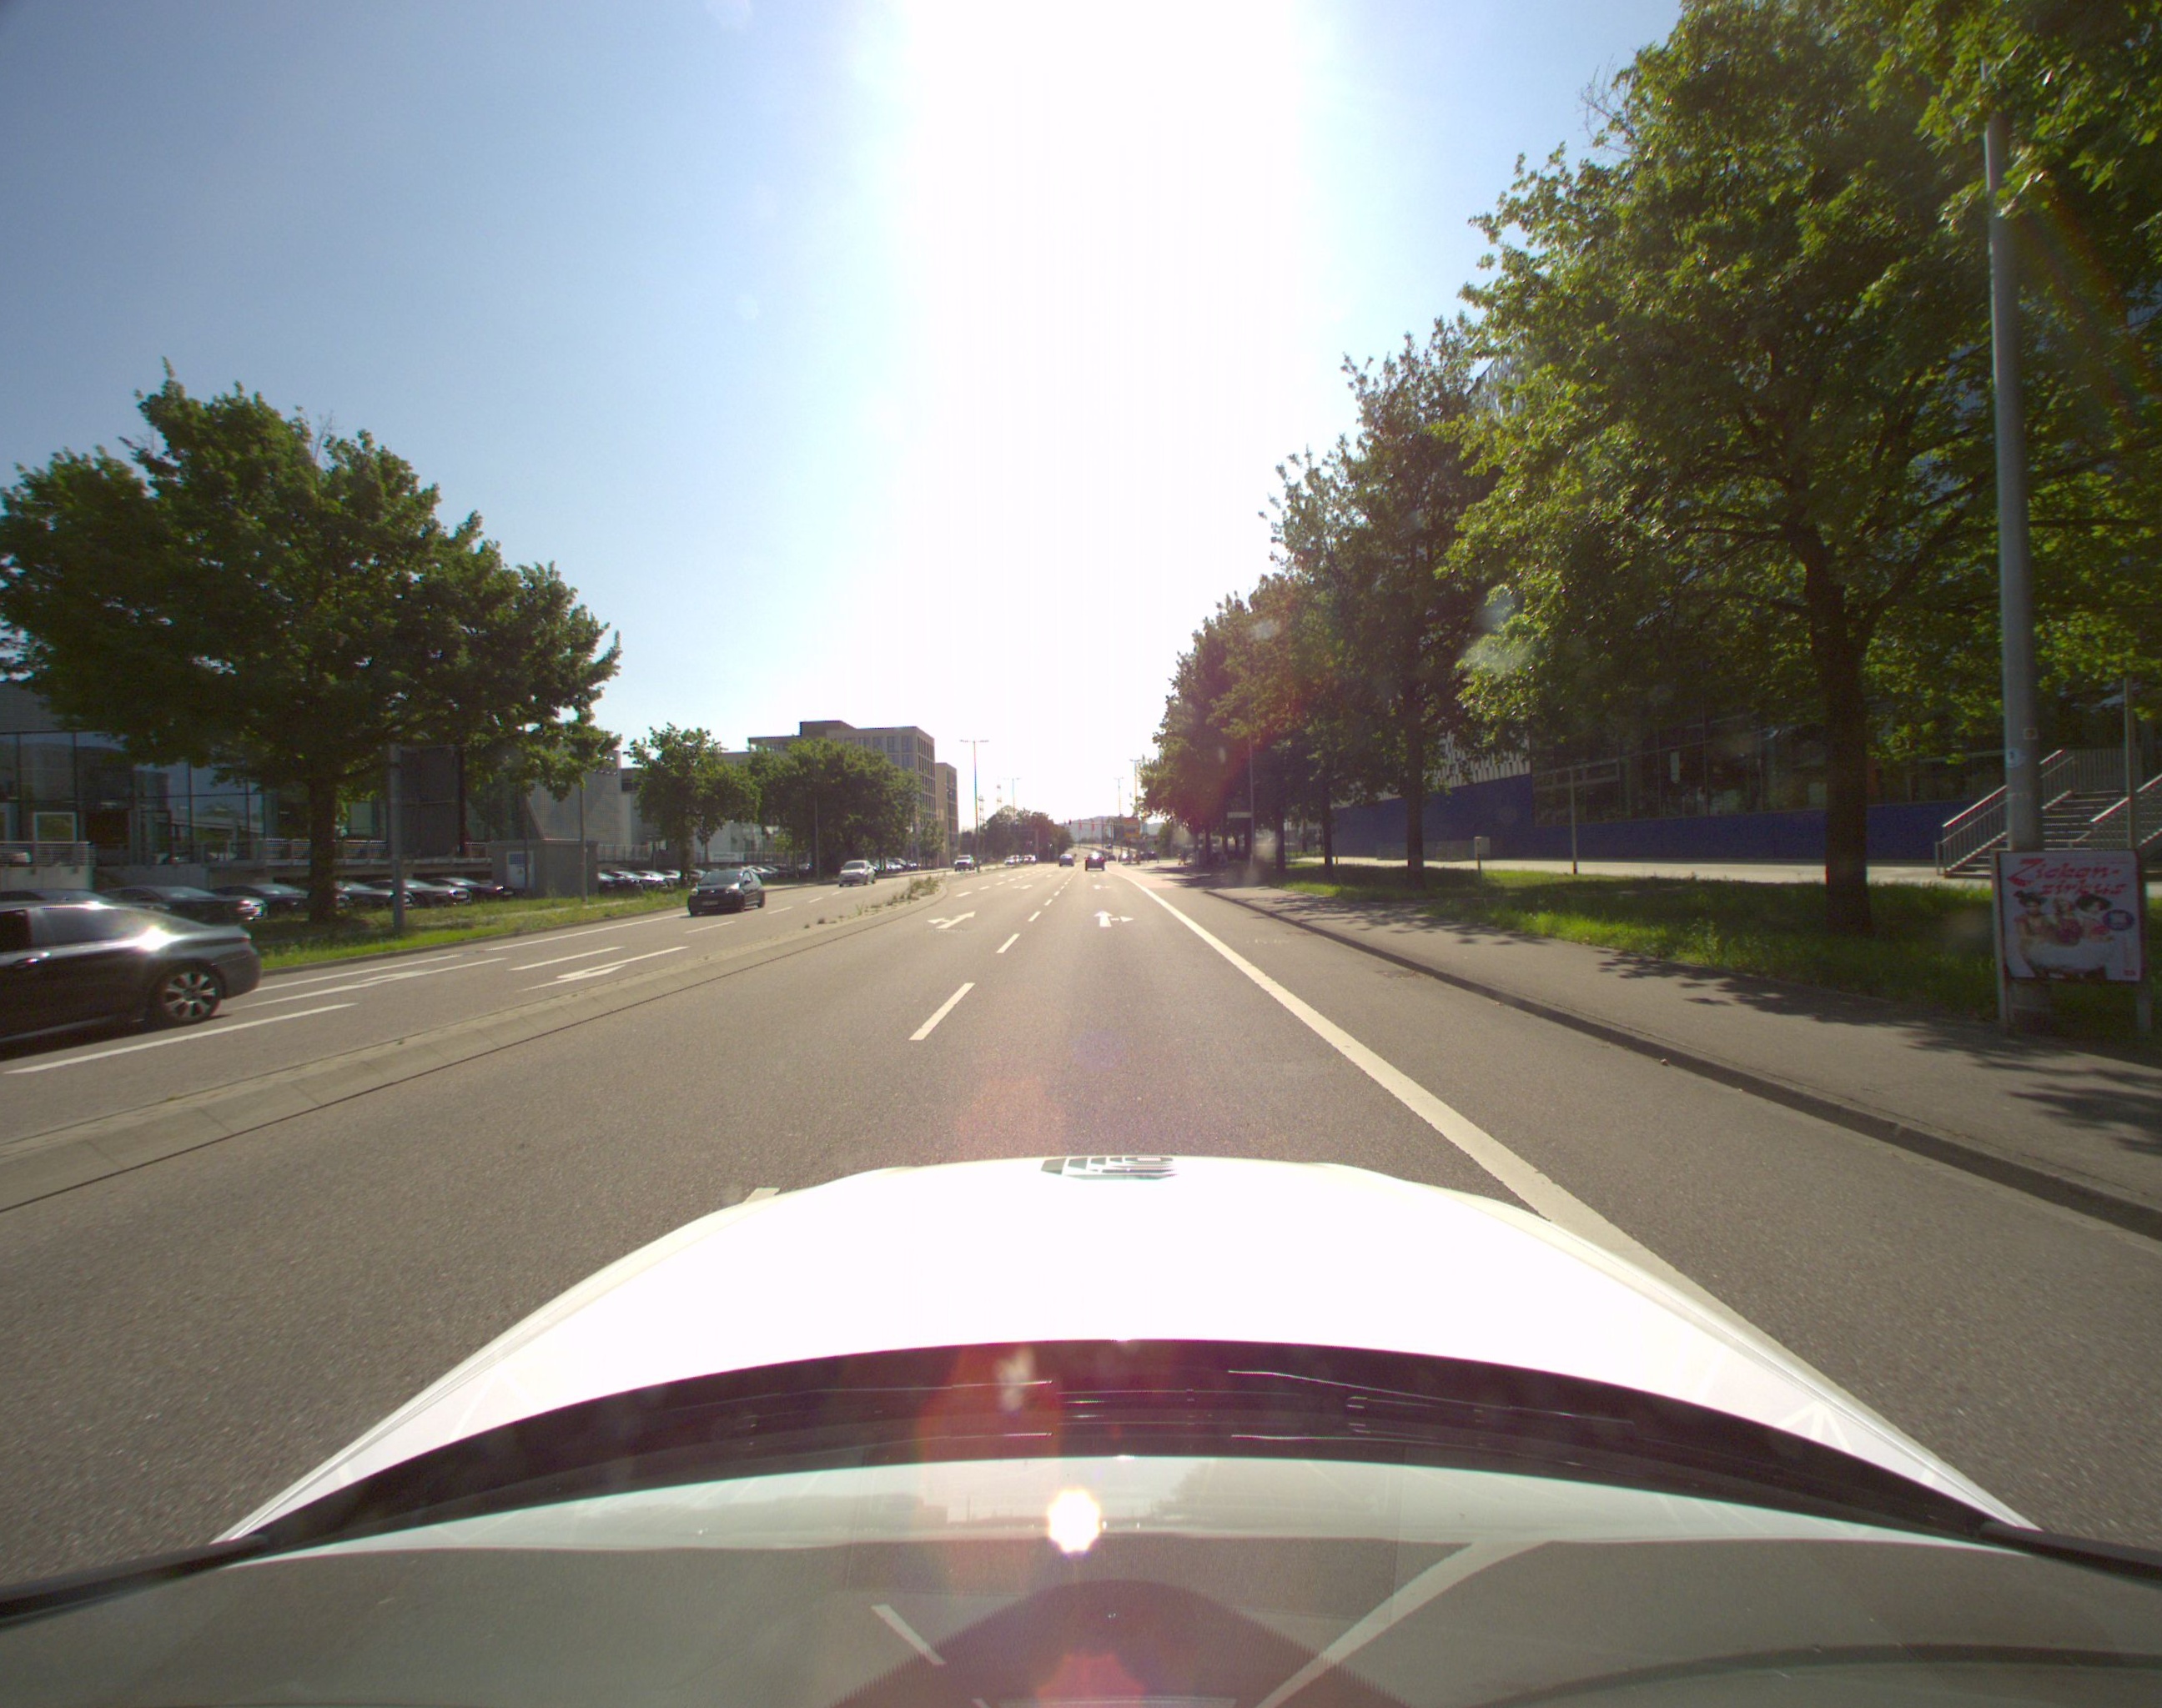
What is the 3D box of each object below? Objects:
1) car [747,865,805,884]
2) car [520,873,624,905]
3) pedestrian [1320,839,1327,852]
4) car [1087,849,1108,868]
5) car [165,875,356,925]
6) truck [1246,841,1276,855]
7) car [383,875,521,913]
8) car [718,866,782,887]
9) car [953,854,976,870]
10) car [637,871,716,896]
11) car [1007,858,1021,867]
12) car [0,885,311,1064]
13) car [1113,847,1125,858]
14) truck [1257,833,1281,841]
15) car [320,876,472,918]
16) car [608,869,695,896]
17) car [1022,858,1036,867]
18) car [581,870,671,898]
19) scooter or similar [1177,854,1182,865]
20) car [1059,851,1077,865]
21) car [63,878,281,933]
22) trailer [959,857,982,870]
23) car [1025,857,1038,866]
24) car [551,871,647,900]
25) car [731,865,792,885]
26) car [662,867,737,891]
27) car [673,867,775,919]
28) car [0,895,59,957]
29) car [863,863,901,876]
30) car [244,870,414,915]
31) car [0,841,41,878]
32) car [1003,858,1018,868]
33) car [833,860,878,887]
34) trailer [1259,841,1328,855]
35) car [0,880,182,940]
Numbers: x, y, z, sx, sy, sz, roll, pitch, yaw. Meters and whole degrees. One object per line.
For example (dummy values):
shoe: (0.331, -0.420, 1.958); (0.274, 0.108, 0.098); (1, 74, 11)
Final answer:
car: (-24.923, 1.641, 66.611); (3.972, 1.376, 1.925); (-2, 0, 1)
car: (-25.737, 1.772, 41.276); (3.972, 1.376, 2.001); (-2, 0, 1)
pedestrian: (32.034, -1.136, 107.603); (0.627, 1.770, 0.803); (-2, 0, -9)
car: (1.511, 0.427, 77.533); (1.802, 1.640, 4.457); (-2, 0, -1)
car: (-26.345, 1.443, 26.247); (4.248, 1.350, 1.956); (-2, 0, 3)
truck: (32.281, -1.088, 146.196); (4.865, 2.423, 2.000); (0, 1, -1)
car: (-26.180, 1.665, 34.003); (4.248, 1.350, 1.956); (-2, 0, 3)
car: (-24.924, 1.672, 61.464); (3.972, 1.376, 1.925); (-2, 0, 1)
car: (-13.516, 0.904, 94.535); (1.987, 1.832, 4.935); (-2, 0, -1)
car: (-25.464, 1.855, 51.360); (3.972, 1.376, 1.925); (-2, 0, 1)
car: (-12.460, 1.586, 151.082); (1.806, 1.464, 4.007); (-3, 0, 6)
car: (-10.402, 1.175, 7.409); (1.834, 1.463, 5.002); (-4, 0, 2)
car: (6.358, -0.330, 137.800); (1.753, 1.758, 3.601); (0, 1, -2)
truck: (47.934, -4.358, 207.581); (5.884, 2.013, 2.002); (0, 1, 3)
car: (-26.336, 1.633, 31.408); (4.248, 1.350, 1.956); (-2, 0, 3)
car: (-25.660, 1.699, 48.762); (4.027, 1.376, 2.026); (-2, 0, 1)
car: (-9.241, 1.549, 144.723); (1.806, 1.464, 4.007); (-3, 0, 6)
car: (-25.708, 1.693, 46.073); (3.972, 1.376, 1.866); (-2, 0, 1)
scooter or similar: (11.165, 0.670, 92.579); (0.348, 1.233, 1.316); (-3, 0, 15)
car: (-1.580, 0.528, 102.815); (1.986, 1.684, 4.002); (-2, 0, 2)
car: (-26.390, 1.471, 23.744); (4.248, 1.350, 1.956); (-2, 0, 3)
trailer: (-13.521, 1.121, 99.893); (1.987, 1.453, 5.770); (-2, 0, -1)
car: (-9.244, 1.422, 151.700); (1.806, 1.464, 4.007); (-3, 0, 6)
car: (-25.862, 1.677, 43.797); (3.972, 1.376, 1.866); (-2, 0, 1)
car: (-25.129, 1.641, 64.216); (3.972, 1.376, 1.925); (-2, 0, 1)
car: (-25.291, 1.656, 54.070); (3.972, 1.376, 1.925); (-2, 0, 1)
car: (-11.697, 1.228, 26.966); (1.780, 1.414, 3.993); (-4, 0, -5)
car: (-26.655, 1.739, 18.622); (4.248, 1.350, 1.956); (-2, 0, 3)
car: (-23.713, 1.791, 97.256); (3.974, 1.343, 2.000); (-2, 0, 0)
car: (-26.486, 1.352, 28.784); (4.248, 1.350, 1.956); (-2, 0, 3)
car: (-42.646, 0.263, 30.758); (4.249, 1.350, 1.955); (-2, 0, 2)
car: (-12.434, 1.575, 143.586); (1.882, 1.464, 4.007); (-3, 0, 6)
car: (-13.397, 1.131, 48.608); (1.649, 1.464, 3.548); (-4, 0, -1)
trailer: (38.150, -1.104, 146.195); (11.830, 2.469, 2.000); (0, 1, 0)
car: (-26.668, 1.453, 21.287); (4.248, 1.350, 1.956); (-2, 0, 3)
